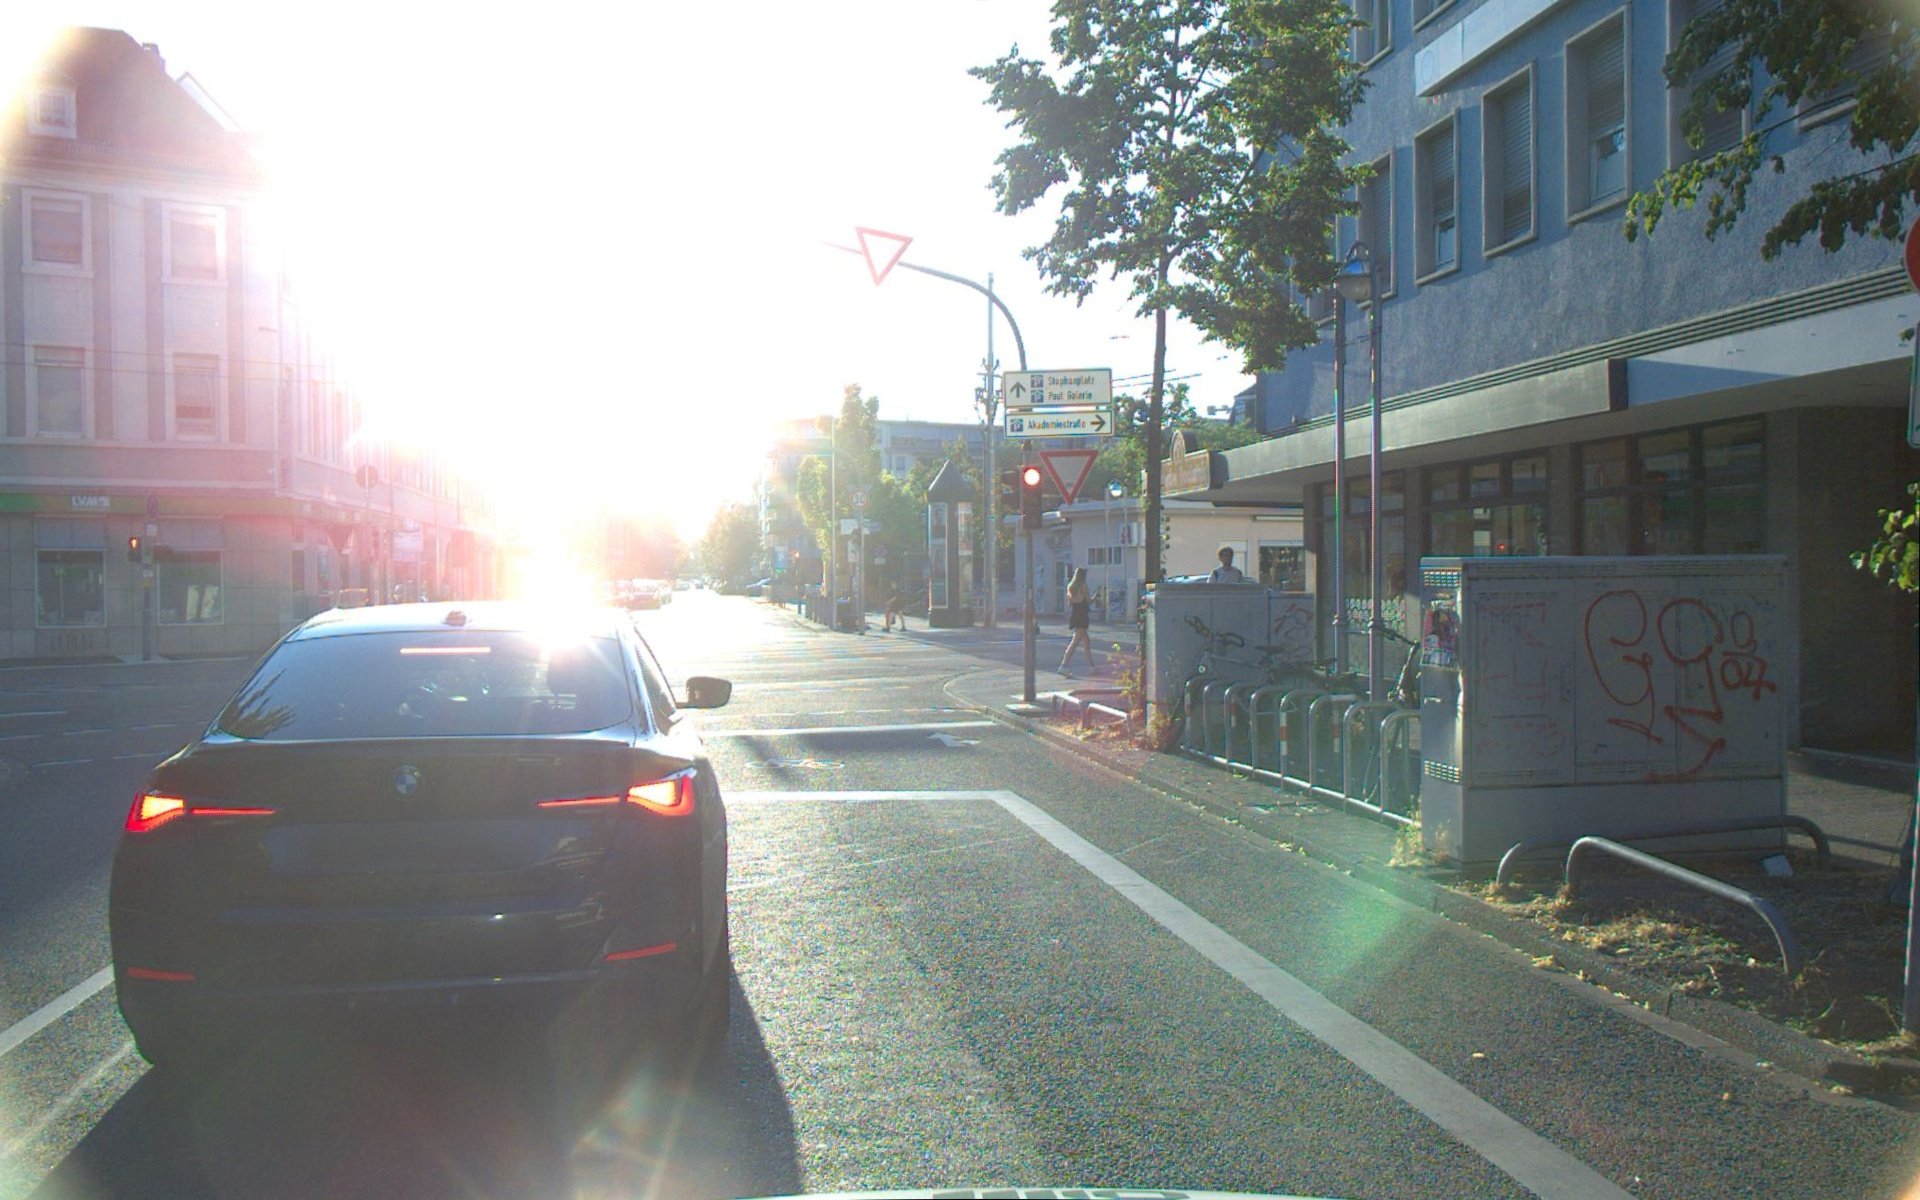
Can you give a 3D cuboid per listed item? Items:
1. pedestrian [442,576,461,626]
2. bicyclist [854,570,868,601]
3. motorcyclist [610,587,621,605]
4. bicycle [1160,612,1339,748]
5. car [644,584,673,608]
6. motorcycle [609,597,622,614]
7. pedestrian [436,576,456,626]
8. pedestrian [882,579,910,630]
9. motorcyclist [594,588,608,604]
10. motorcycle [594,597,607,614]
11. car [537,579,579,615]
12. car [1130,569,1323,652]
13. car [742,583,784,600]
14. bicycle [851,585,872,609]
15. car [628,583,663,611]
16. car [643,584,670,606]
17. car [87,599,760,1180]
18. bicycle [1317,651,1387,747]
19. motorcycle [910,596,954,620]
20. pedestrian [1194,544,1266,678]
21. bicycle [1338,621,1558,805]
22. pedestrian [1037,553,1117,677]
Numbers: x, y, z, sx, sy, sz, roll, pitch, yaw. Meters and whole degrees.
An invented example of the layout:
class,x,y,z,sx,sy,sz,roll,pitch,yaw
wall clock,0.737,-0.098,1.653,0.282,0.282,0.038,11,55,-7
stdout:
class,x,y,z,sx,sy,sz,roll,pitch,yaw
pedestrian,-19.835,0.036,64.551,0.605,1.909,0.677,1,0,-11
bicyclist,-4.897,-0.702,81.944,0.541,1.507,0.719,1,0,-17
motorcyclist,-19.427,-0.219,93.375,0.564,1.013,0.701,1,0,-9
bicycle,2.653,0.723,15.182,1.582,1.191,0.318,-1,0,-7
car,-20.501,-0.274,112.652,1.784,1.545,3.992,-1,1,-9
motorcycle,-19.455,0.321,93.473,0.564,0.931,2.196,1,0,-8
pedestrian,-19.800,0.041,63.715,0.631,1.909,0.630,1,0,-9
pedestrian,-1.996,0.142,51.472,0.725,1.555,0.468,1,0,-30
motorcyclist,-20.364,-0.237,93.829,0.564,0.931,2.196,1,0,-8
motorcycle,-20.374,0.304,93.835,0.564,0.931,2.196,1,0,-8
car,-21.068,-0.173,86.791,1.784,1.819,3.992,-1,1,-9
car,5.980,0.182,36.942,4.242,1.737,1.784,-1,1,-35
car,-19.480,-0.834,163.252,3.921,1.545,1.816,-1,1,-16
bicycle,-4.887,-0.136,81.888,0.541,1.179,2.134,1,0,-17
car,-17.914,-0.178,94.397,1.784,1.545,3.992,-1,1,-9
car,-22.553,-0.363,122.920,1.784,1.545,3.992,-1,1,-9
car,-1.741,0.741,6.458,1.705,1.453,4.214,0,0,-10
bicycle,3.611,0.898,15.281,0.244,0.810,1.114,1,0,-7
motorcycle,-1.156,0.331,67.835,1.644,0.955,0.851,-1,1,-20
pedestrian,3.852,0.149,23.635,0.820,1.874,0.677,-1,0,-9
bicycle,3.374,0.777,11.461,1.413,1.241,0.383,1,0,-8
pedestrian,1.904,0.232,26.918,0.991,1.892,0.634,-6,3,-29
